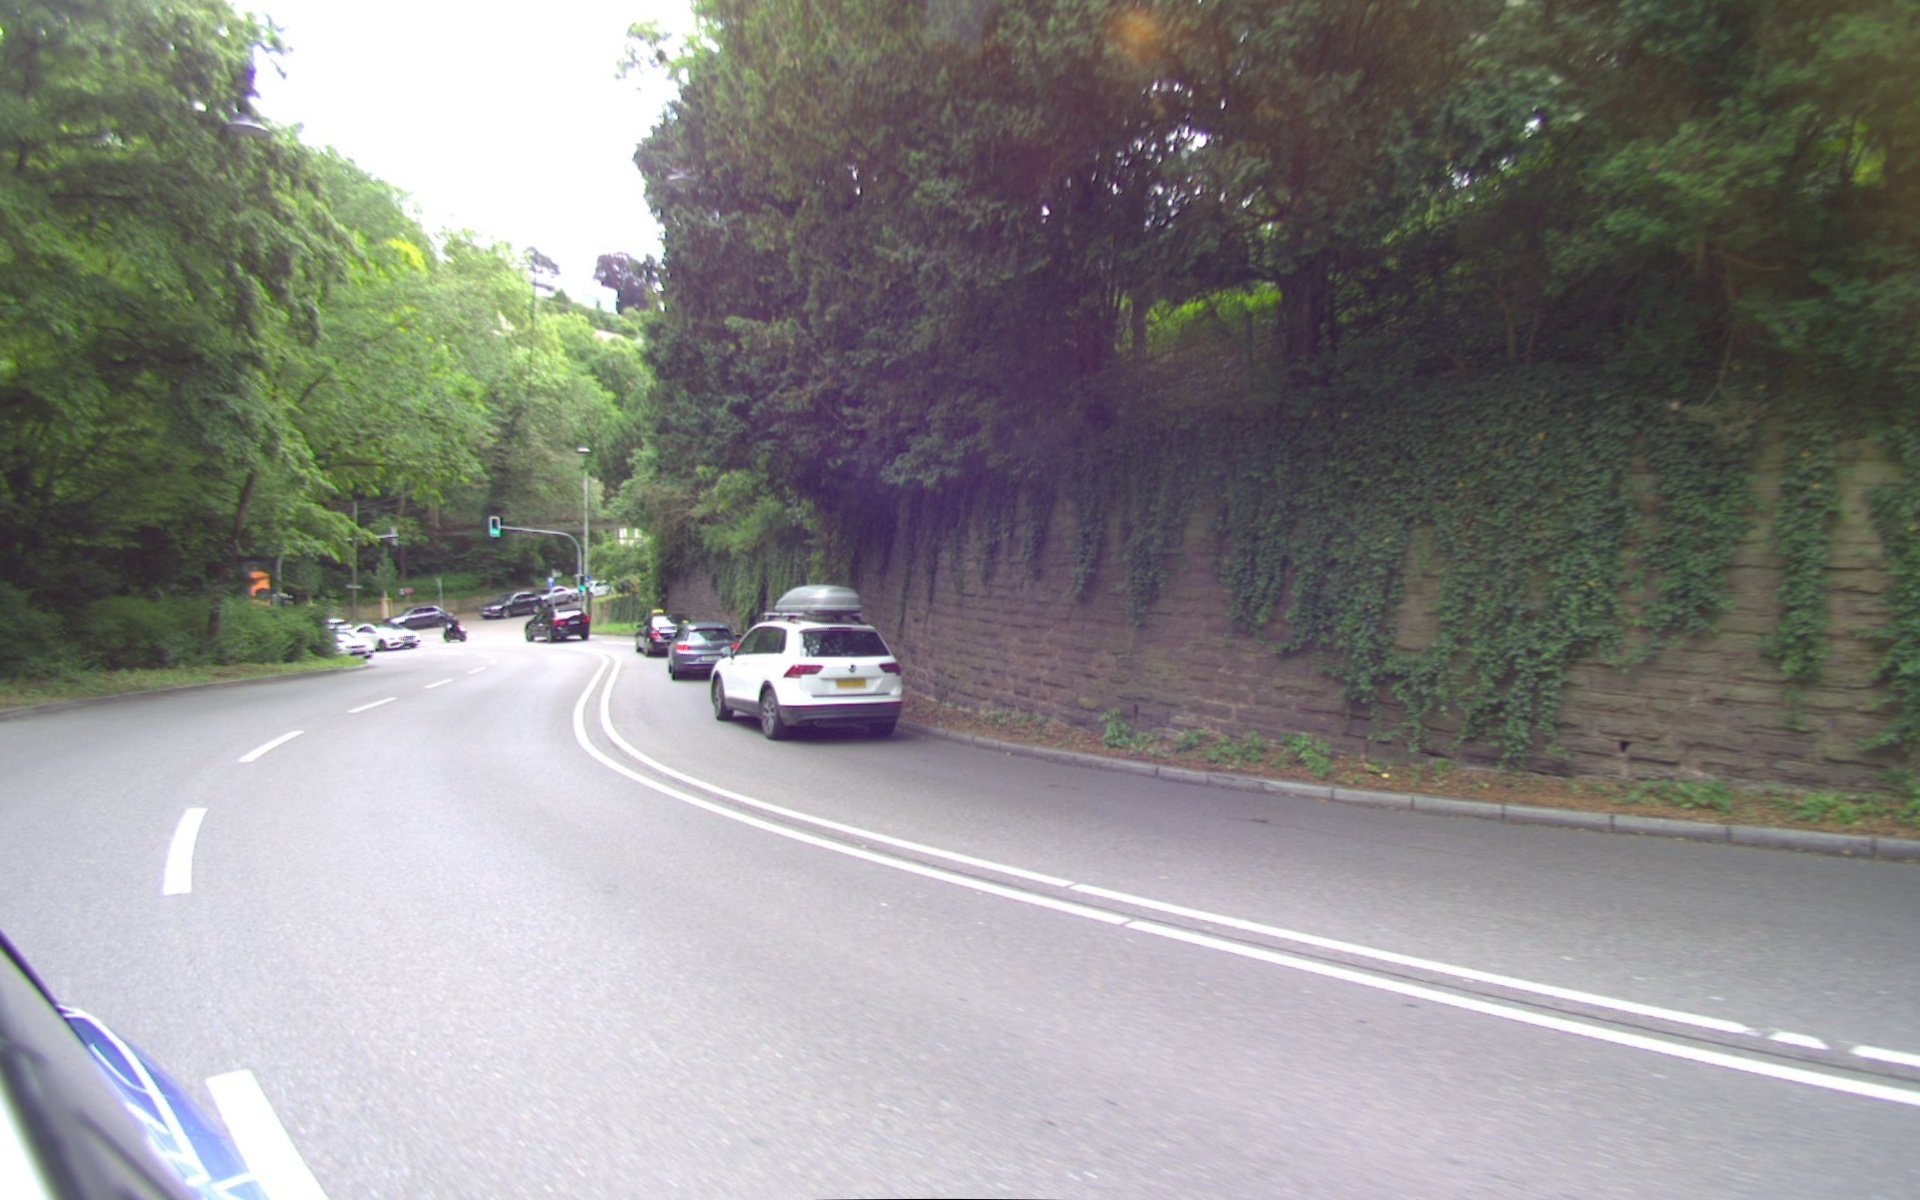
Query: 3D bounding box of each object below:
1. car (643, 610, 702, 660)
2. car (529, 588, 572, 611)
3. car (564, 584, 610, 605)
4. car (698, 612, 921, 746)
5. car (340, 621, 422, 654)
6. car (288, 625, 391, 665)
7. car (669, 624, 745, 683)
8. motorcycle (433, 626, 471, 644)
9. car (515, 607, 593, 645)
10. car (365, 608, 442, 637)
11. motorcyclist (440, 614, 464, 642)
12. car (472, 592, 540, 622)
[{"bbox_3d":[-10.311,1.192,36.073,1.836,1.609,4.644,-1,0,-18],"label":"car"},{"bbox_3d":[-32.713,-0.067,80.902,1.492,1.457,3.251,1,7,15],"label":"car"},{"bbox_3d":[-31.593,-0.504,85.869,1.615,1.338,4.004,1,6,17],"label":"car"},{"bbox_3d":[-2.370,1.053,14.875,1.745,1.665,4.400,2,-2,-29],"label":"car"},{"bbox_3d":[-30.318,1.957,52.946,4.516,1.489,1.896,-3,2,35],"label":"car"},{"bbox_3d":[-29.105,2.111,47.476,4.501,1.563,1.902,-4,1,26],"label":"car"},{"bbox_3d":[-6.437,1.317,25.942,1.747,1.349,3.970,1,-1,-13],"label":"car"},{"bbox_3d":[-27.750,1.895,55.231,2.424,0.896,0.801,-1,0,35],"label":"motorcycle"},{"bbox_3d":[-19.822,1.289,49.299,1.829,1.661,4.514,-5,1,-44],"label":"car"},{"bbox_3d":[-36.276,1.421,66.087,1.750,1.368,3.954,0,6,35],"label":"car"},{"bbox_3d":[-27.723,1.516,55.204,1.092,1.541,0.740,-1,0,35],"label":"motorcyclist"},{"bbox_3d":[-32.714,0.494,73.039,1.795,1.696,4.514,-1,5,21],"label":"car"}]
